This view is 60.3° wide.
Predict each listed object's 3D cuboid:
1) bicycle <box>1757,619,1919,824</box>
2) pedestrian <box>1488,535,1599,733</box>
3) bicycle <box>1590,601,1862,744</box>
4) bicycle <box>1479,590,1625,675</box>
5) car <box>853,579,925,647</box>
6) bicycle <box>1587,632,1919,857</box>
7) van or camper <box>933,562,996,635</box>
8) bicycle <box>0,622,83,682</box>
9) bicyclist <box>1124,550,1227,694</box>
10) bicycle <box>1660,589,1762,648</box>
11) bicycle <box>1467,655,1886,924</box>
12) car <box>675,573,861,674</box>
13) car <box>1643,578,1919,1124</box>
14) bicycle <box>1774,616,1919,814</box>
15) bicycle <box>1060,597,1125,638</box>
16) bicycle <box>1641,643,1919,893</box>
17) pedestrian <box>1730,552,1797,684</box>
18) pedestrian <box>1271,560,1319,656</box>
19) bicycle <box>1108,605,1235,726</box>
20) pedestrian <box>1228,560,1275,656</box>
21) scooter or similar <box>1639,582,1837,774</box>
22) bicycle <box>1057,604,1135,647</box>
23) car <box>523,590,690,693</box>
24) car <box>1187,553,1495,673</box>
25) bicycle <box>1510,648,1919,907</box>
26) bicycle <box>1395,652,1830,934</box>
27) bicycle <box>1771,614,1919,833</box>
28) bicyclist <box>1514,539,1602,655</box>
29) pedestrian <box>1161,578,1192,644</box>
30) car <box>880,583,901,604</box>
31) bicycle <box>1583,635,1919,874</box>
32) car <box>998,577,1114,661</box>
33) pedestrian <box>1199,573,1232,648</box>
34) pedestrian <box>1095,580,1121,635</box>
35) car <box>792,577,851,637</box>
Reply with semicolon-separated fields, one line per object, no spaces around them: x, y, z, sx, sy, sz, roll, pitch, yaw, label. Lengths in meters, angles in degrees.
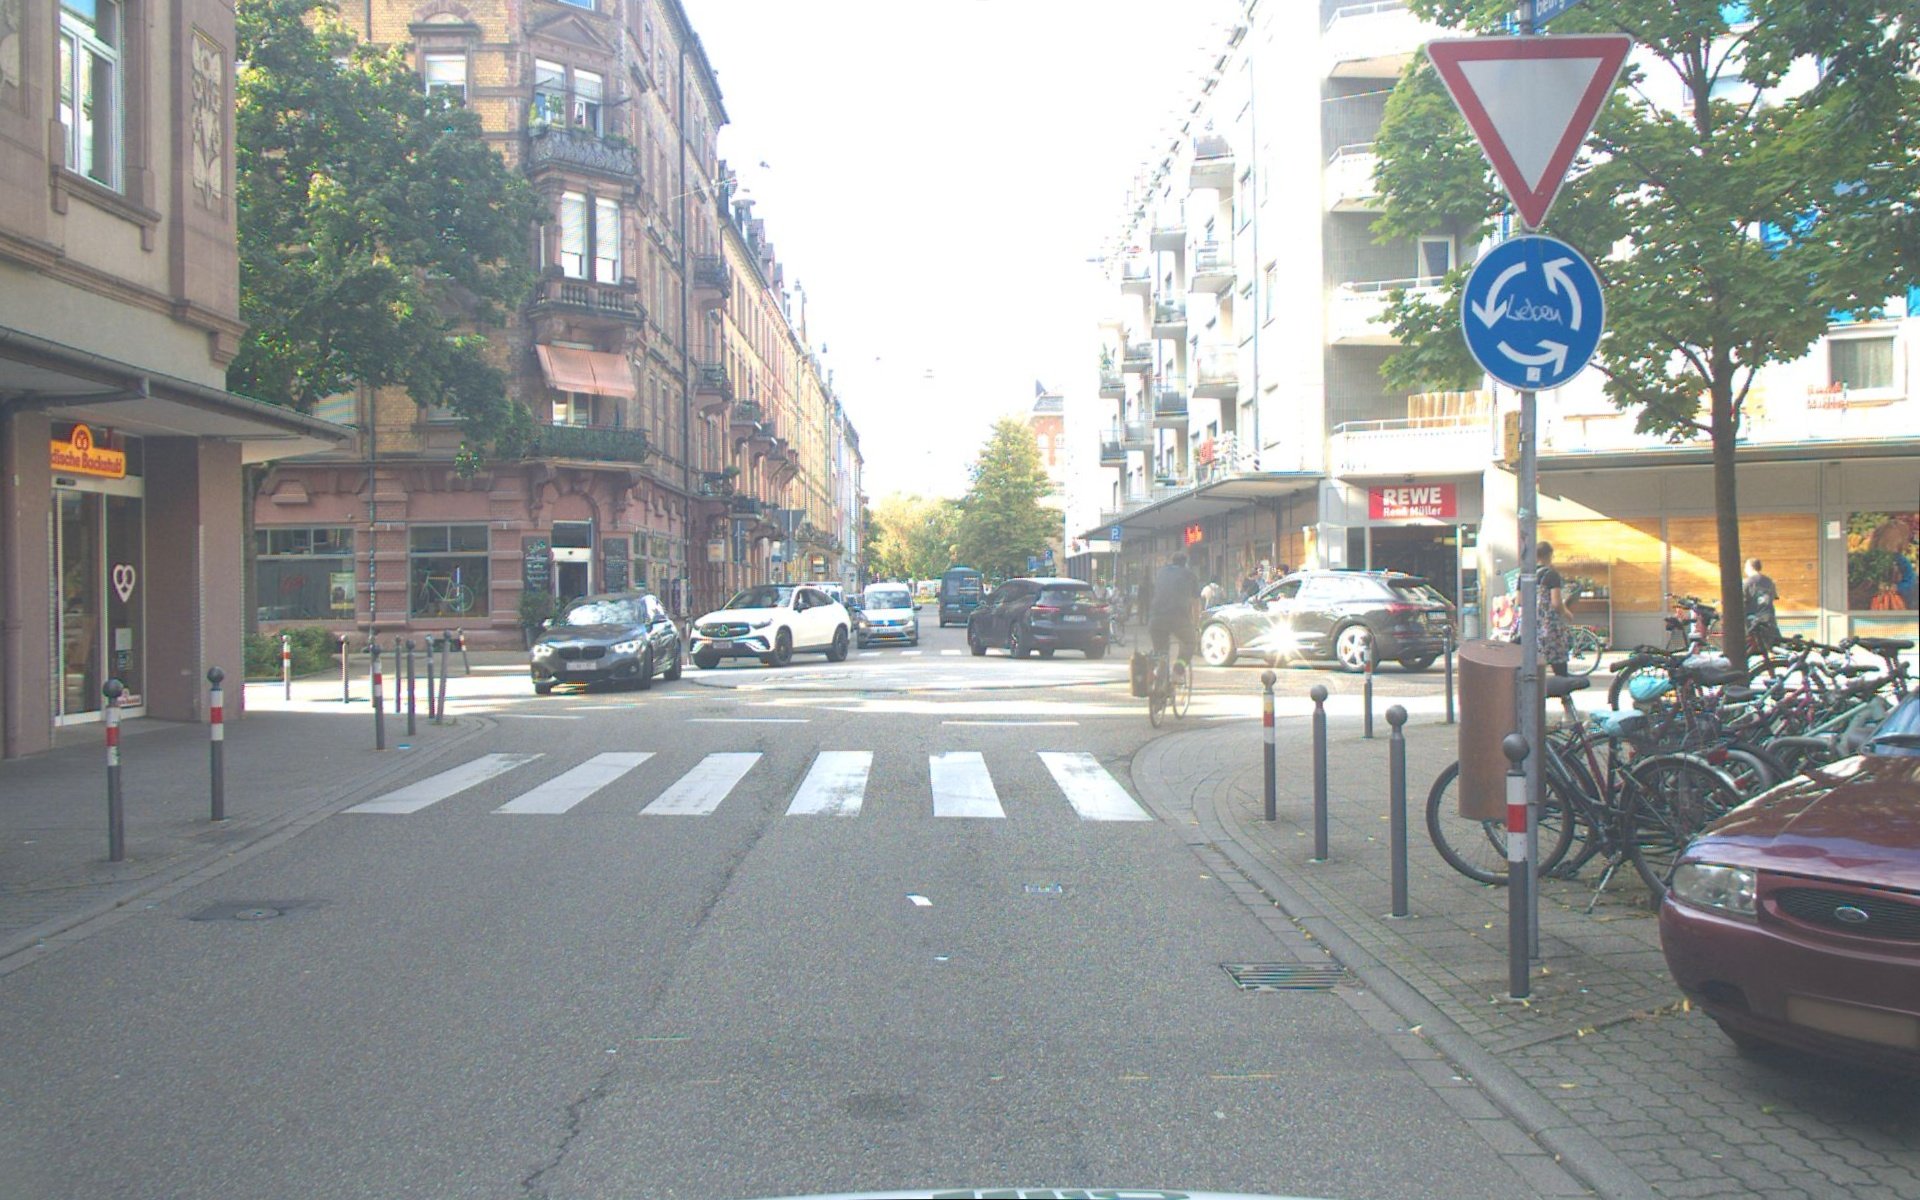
5.075;0.641;8.889;0.332;1.058;1.442;-4;1;-30;bicycle
5.529;0.308;15.662;0.769;1.811;0.790;-1;0;37;pedestrian
6.201;0.578;13.457;1.884;1.113;0.653;-1;0;3;bicycle
8.873;0.474;24.815;1.937;1.220;0.709;-1;0;38;bicycle
-2.023;0.357;48.499;1.756;1.822;4.736;-2;0;1;car
4.308;0.719;8.882;0.384;1.058;1.901;-4;1;-30;bicycle
0.156;-0.077;72.548;2.481;3.090;4.456;-1;0;-3;van or camper
-18.950;1.036;32.629;2.839;1.142;0.725;-1;0;-5;bicycle
2.322;0.225;17.770;0.915;1.510;0.747;1;0;25;bicyclist
13.893;0.343;30.618;1.653;1.069;0.455;-1;0;39;bicycle
3.255;0.809;7.711;0.455;1.058;1.838;-4;1;-30;bicycle
-3.833;0.422;33.975;1.902;1.752;4.853;-2;2;18;car
4.287;0.656;5.468;3.889;1.482;1.752;-1;0;-30;car
5.316;0.629;9.221;0.445;1.058;1.371;-1;0;-31;bicycle
3.608;0.470;44.928;1.773;1.045;0.671;-1;0;-39;bicycle
4.066;0.742;7.666;0.343;1.058;1.840;-4;1;-27;bicycle
10.941;0.239;22.543;0.615;1.769;0.776;-1;0;11;pedestrian
6.712;0.158;33.143;0.850;1.883;0.613;-1;0;4;pedestrian
2.316;0.658;17.798;0.652;1.198;2.496;1;0;24;bicycle
5.850;0.160;33.209;0.850;1.883;0.613;-1;0;4;pedestrian
5.481;0.528;11.711;1.219;1.296;0.664;-1;0;23;scooter or similar
3.498;0.659;42.633;1.959;1.063;0.532;-1;0;1;bicycle
-5.348;0.606;25.550;1.714;1.461;4.211;0;-1;-1;car
6.267;0.183;27.683;2.023;1.754;4.777;-3;2;-39;car
3.560;0.780;7.958;0.343;1.058;2.000;-4;1;-27;bicycle
2.849;0.789;7.438;0.542;1.058;1.838;-4;1;-30;bicycle
5.046;0.622;8.337;0.349;1.092;1.780;-4;1;-30;bicycle
8.949;-0.046;24.753;0.996;1.697;0.939;-1;0;38;bicyclist
5.547;0.271;42.330;0.729;1.657;0.813;-1;0;10;pedestrian
-7.022;-0.636;167.607;1.953;2.049;3.999;-1;0;-2;car
4.105;0.726;8.372;0.439;1.058;1.887;-4;1;-30;bicycle
1.985;0.371;35.389;1.954;1.646;3.997;-1;0;-4;car
5.999;0.248;38.846;0.725;1.742;0.734;-1;0;10;pedestrian
5.265;0.259;58.833;0.715;1.897;1.063;-1;0;14;pedestrian
-4.954;0.223;59.728;1.954;2.049;3.998;-1;0;-3;car
